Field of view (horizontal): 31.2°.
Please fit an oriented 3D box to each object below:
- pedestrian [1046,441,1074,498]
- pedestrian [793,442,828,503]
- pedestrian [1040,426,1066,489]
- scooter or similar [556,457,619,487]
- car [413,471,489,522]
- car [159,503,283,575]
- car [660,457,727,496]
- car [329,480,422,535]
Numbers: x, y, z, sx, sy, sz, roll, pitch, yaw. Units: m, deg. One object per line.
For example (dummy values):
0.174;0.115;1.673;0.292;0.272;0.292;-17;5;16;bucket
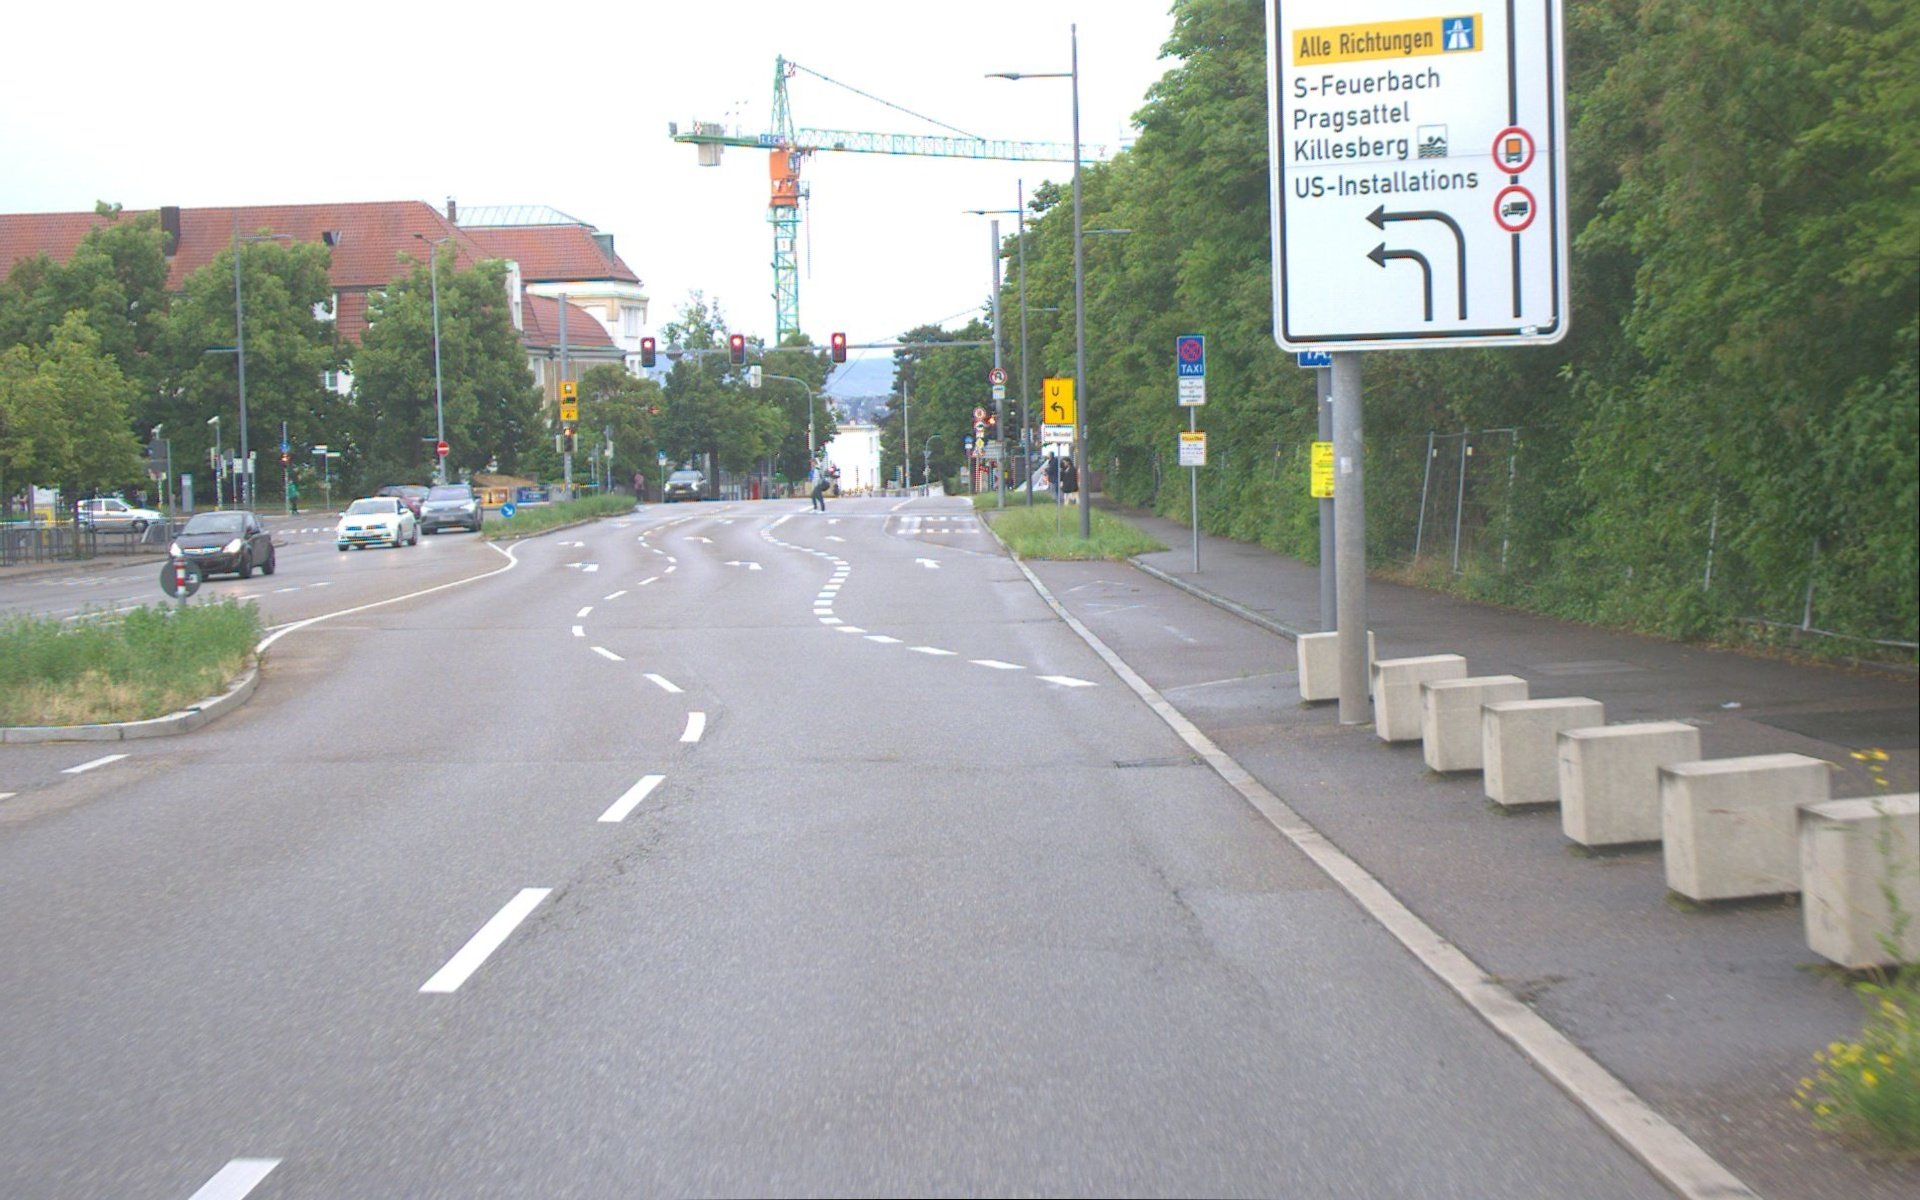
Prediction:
2.924;-3.815;100.446;0.675;1.652;0.793;-2;2;-6;pedestrian
-5.116;-4.366;117.692;0.940;2.006;0.847;-4;2;5;pedestrian
2.842;-4.351;104.737;0.640;1.894;0.718;-2;2;-6;pedestrian
-19.205;-6.627;177.363;3.087;1.435;0.949;-2;2;-2;scooter or similar
-17.066;-3.455;115.460;1.831;1.566;4.594;-4;1;0;car
-16.060;-1.339;74.856;1.846;1.457;3.867;-2;1;0;car
-13.248;-6.138;171.082;1.995;1.831;3.997;0;1;16;car
-16.565;-2.626;97.612;1.873;1.425;4.176;-4;1;0;car
